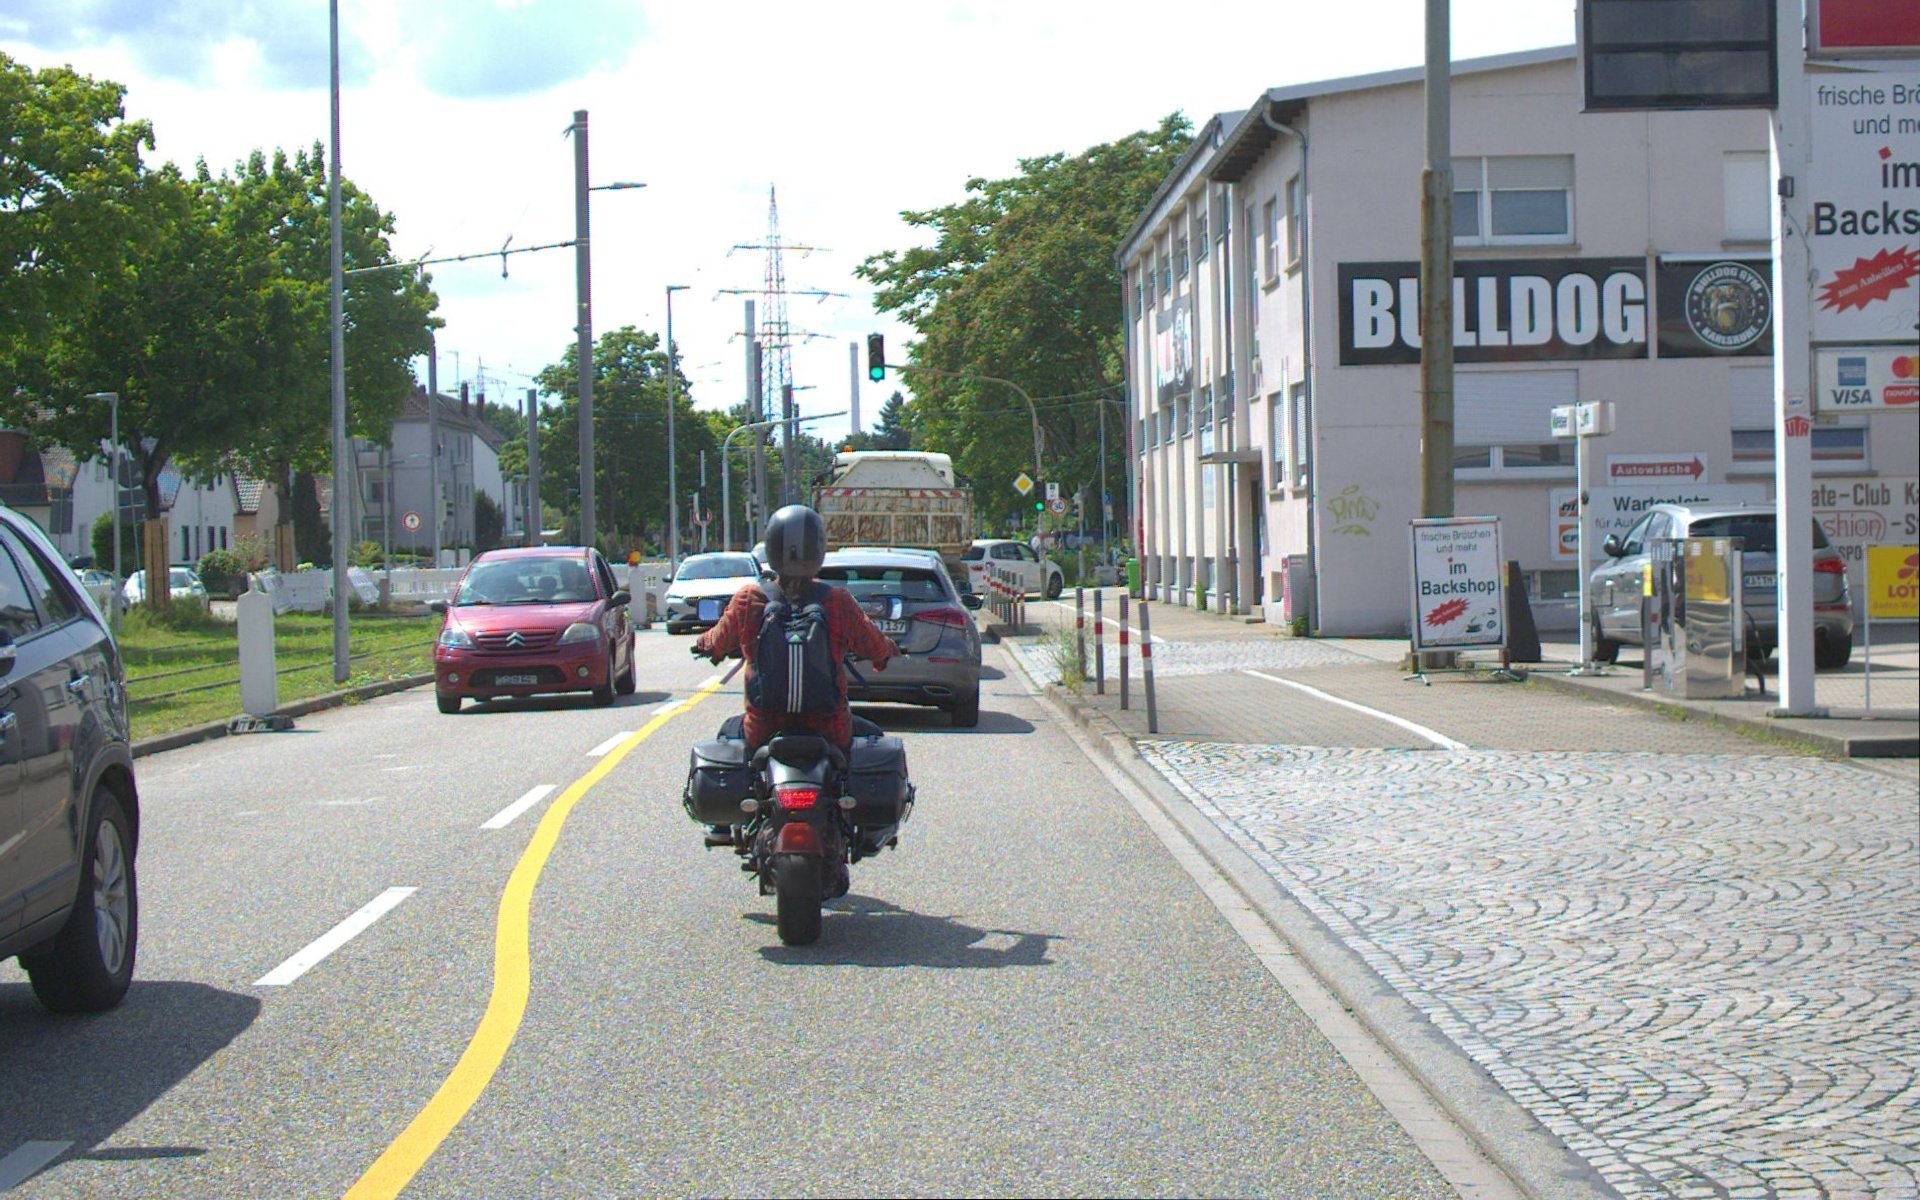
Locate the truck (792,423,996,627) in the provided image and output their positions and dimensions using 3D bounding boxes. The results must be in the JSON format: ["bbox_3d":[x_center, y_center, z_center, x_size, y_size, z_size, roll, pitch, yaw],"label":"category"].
[{"bbox_3d":[-0.998,-1.204,57.799,2.967,3.162,7.763,1,0,2],"label":"truck"}]

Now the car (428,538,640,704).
[{"bbox_3d":[-4.025,0.175,32.954,1.578,1.464,3.720,-1,0,-1],"label":"car"}]

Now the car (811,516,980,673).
[{"bbox_3d":[-0.754,-0.124,41.735,1.901,1.706,4.720,-1,2,0],"label":"car"}]

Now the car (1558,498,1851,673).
[{"bbox_3d":[7.312,-0.167,34.205,1.945,1.619,4.616,0,1,1],"label":"car"}]

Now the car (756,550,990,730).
[{"bbox_3d":[-0.817,0.294,29.591,1.731,1.399,4.087,1,1,-5],"label":"car"}]

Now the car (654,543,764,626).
[{"bbox_3d":[-4.679,-0.296,64.522,1.821,1.440,4.484,-2,0,-2],"label":"car"}]

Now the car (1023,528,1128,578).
[{"bbox_3d":[4.524,-1.831,134.319,1.802,1.919,3.989,1,0,45],"label":"car"}]

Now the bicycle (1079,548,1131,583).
[{"bbox_3d":[4.880,-1.159,115.387,1.708,1.168,0.438,1,0,5],"label":"bicycle"}]

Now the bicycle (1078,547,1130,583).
[{"bbox_3d":[4.819,-1.180,114.843,1.708,1.168,0.438,1,0,5],"label":"bicycle"}]

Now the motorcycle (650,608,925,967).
[{"bbox_3d":[-0.620,0.663,13.316,0.942,1.196,2.472,1,1,-1],"label":"motorcycle"}]

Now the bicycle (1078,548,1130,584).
[{"bbox_3d":[4.769,-1.136,113.966,1.708,1.168,0.438,1,0,5],"label":"bicycle"}]

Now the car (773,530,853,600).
[{"bbox_3d":[-3.682,-0.875,86.600,1.824,1.660,4.462,-2,0,-1],"label":"car"}]

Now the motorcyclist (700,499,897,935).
[{"bbox_3d":[-0.603,0.430,13.043,0.698,1.599,0.692,1,0,0],"label":"motorcyclist"}]

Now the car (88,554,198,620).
[{"bbox_3d":[-17.465,-0.278,73.605,1.521,1.349,3.621,1,0,-1],"label":"car"}]

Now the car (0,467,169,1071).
[{"bbox_3d":[-3.595,0.502,9.572,1.796,1.684,4.221,-2,1,-1],"label":"car"}]
